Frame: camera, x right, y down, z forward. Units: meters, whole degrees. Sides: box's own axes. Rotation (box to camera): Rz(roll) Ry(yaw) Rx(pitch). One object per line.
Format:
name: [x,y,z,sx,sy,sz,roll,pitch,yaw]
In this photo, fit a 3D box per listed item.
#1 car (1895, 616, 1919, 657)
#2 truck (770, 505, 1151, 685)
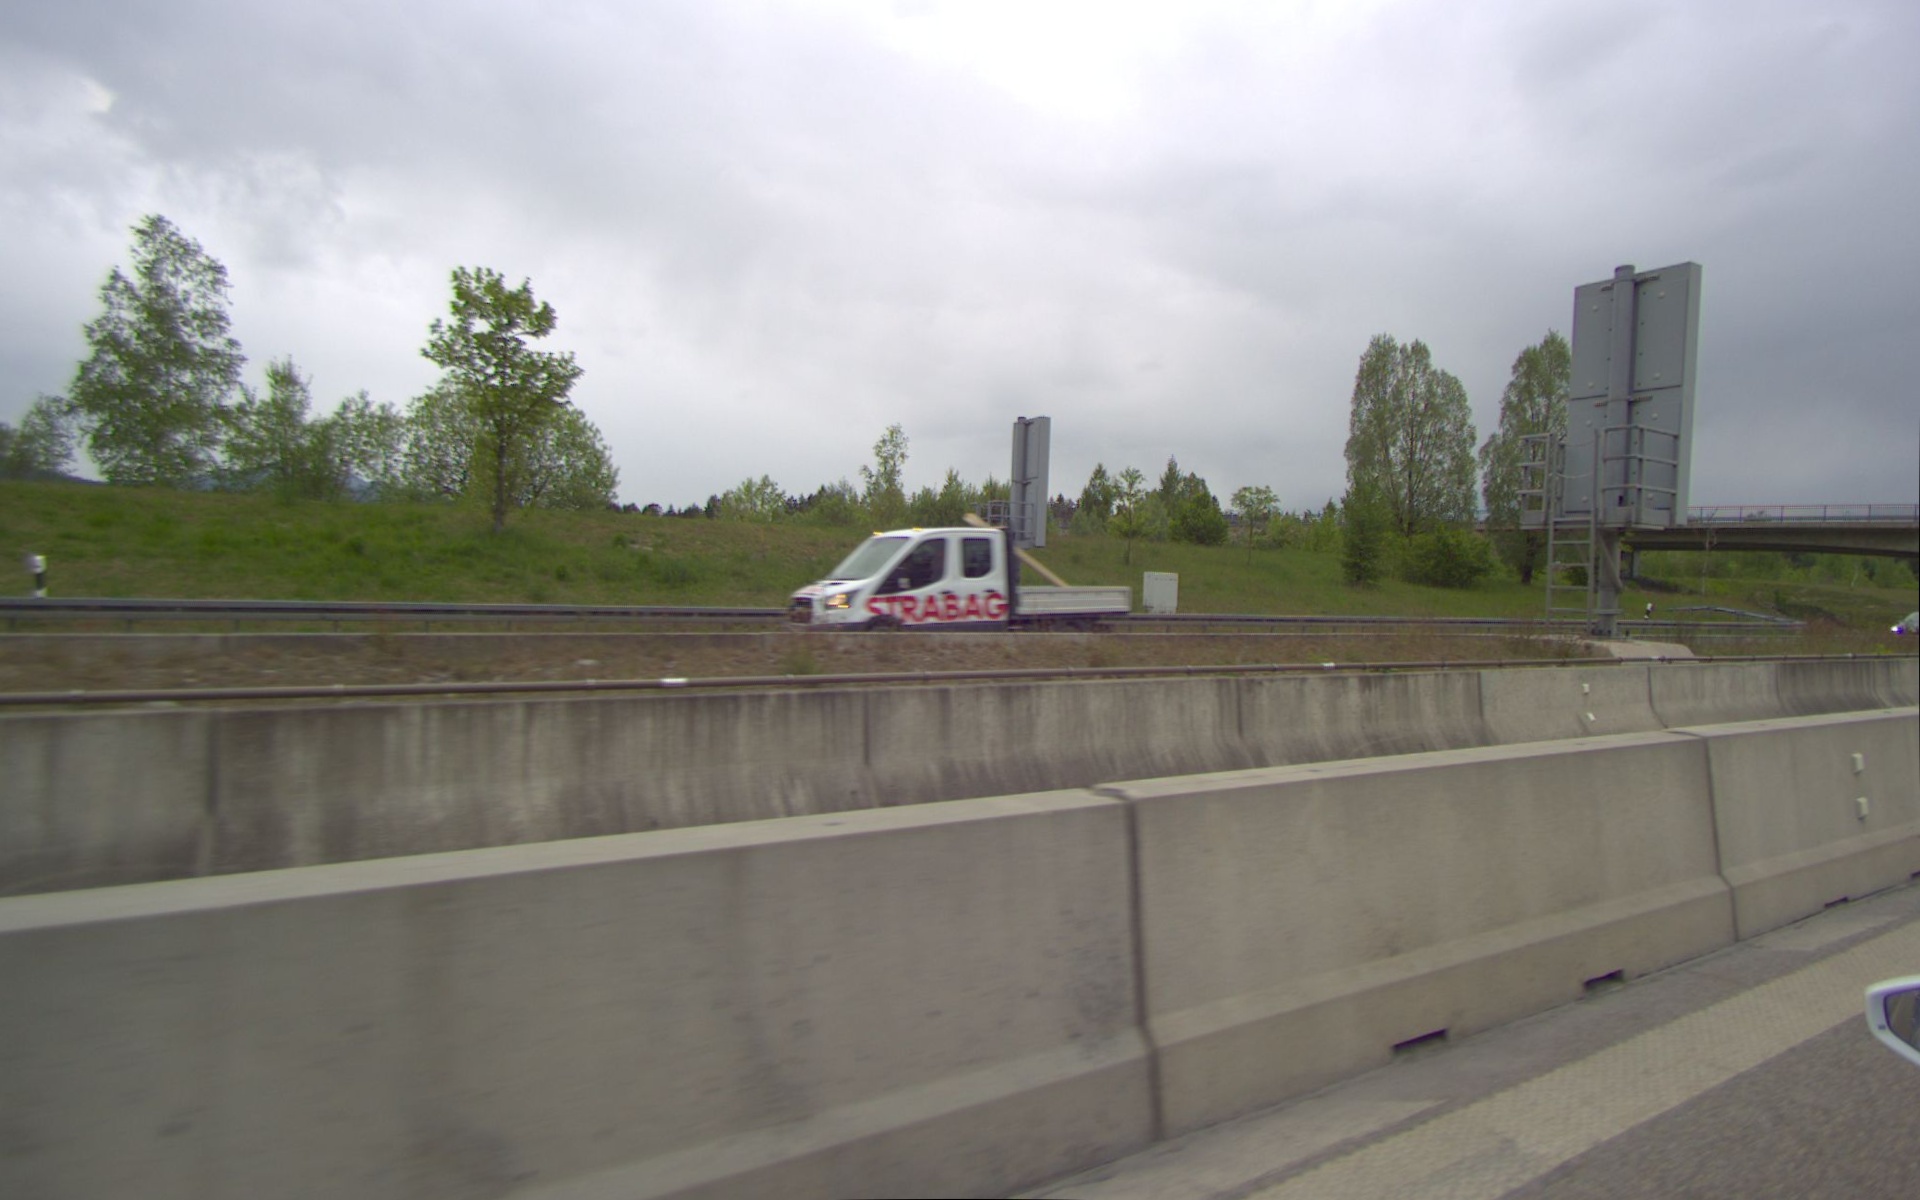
car: [38.412,1.446,39.381,3.794,1.521,1.599,1,1,-31]
truck: [0.109,-0.037,16.607,5.920,2.512,2.344,1,1,-32]
